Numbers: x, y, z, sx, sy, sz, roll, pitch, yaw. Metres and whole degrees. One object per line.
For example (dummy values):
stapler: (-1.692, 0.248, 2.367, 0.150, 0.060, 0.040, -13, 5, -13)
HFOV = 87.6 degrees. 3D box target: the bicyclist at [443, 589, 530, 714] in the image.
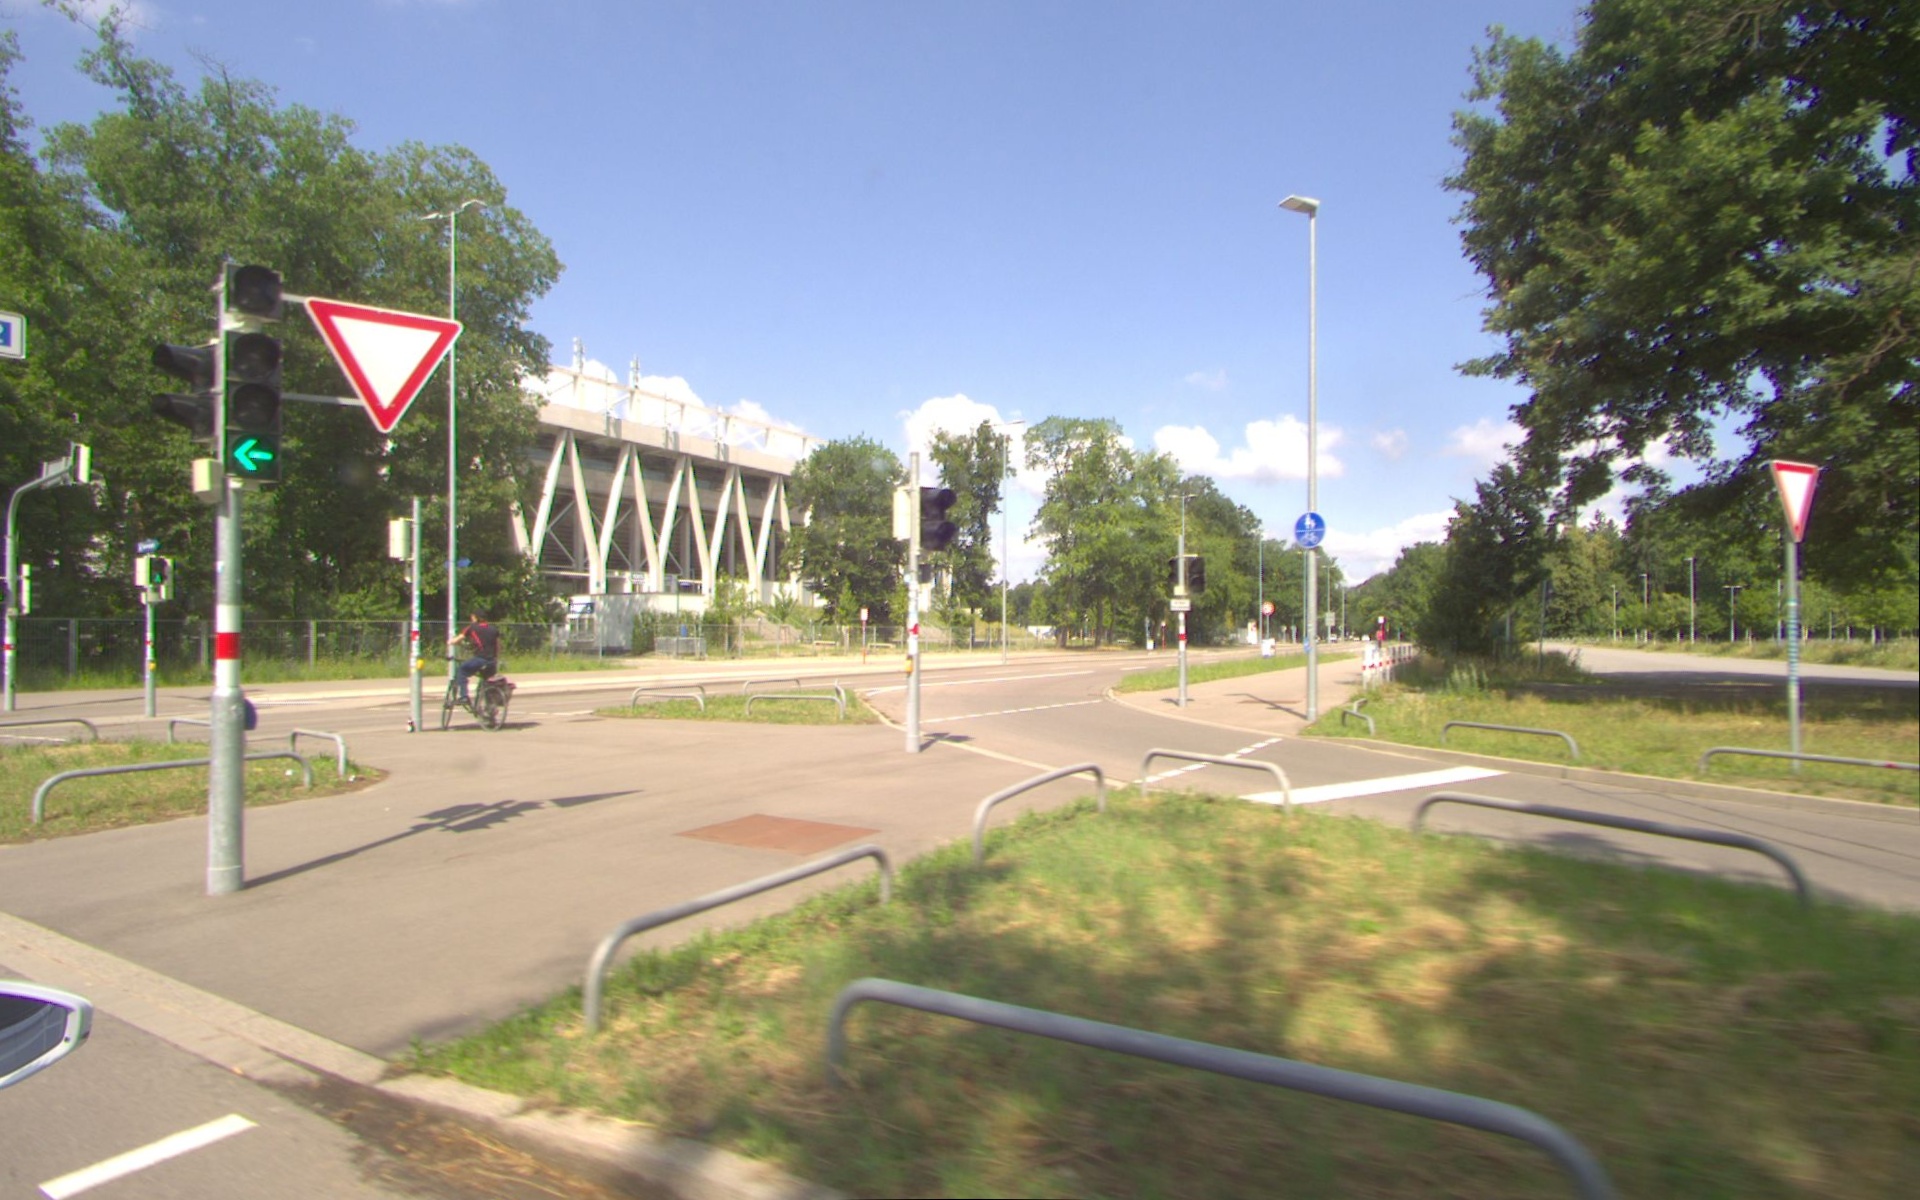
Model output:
bicyclist: (-7.211, 0.779, 15.258, 0.968, 1.820, 0.880, -2, -2, 41)

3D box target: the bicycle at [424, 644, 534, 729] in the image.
bicycle: (-7.421, 1.301, 15.418, 1.877, 1.221, 0.876, -3, -2, 42)

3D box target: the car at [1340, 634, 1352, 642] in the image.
car: (70.217, 6.946, 182.220, 1.557, 1.498, 3.556, -2, -2, 29)
